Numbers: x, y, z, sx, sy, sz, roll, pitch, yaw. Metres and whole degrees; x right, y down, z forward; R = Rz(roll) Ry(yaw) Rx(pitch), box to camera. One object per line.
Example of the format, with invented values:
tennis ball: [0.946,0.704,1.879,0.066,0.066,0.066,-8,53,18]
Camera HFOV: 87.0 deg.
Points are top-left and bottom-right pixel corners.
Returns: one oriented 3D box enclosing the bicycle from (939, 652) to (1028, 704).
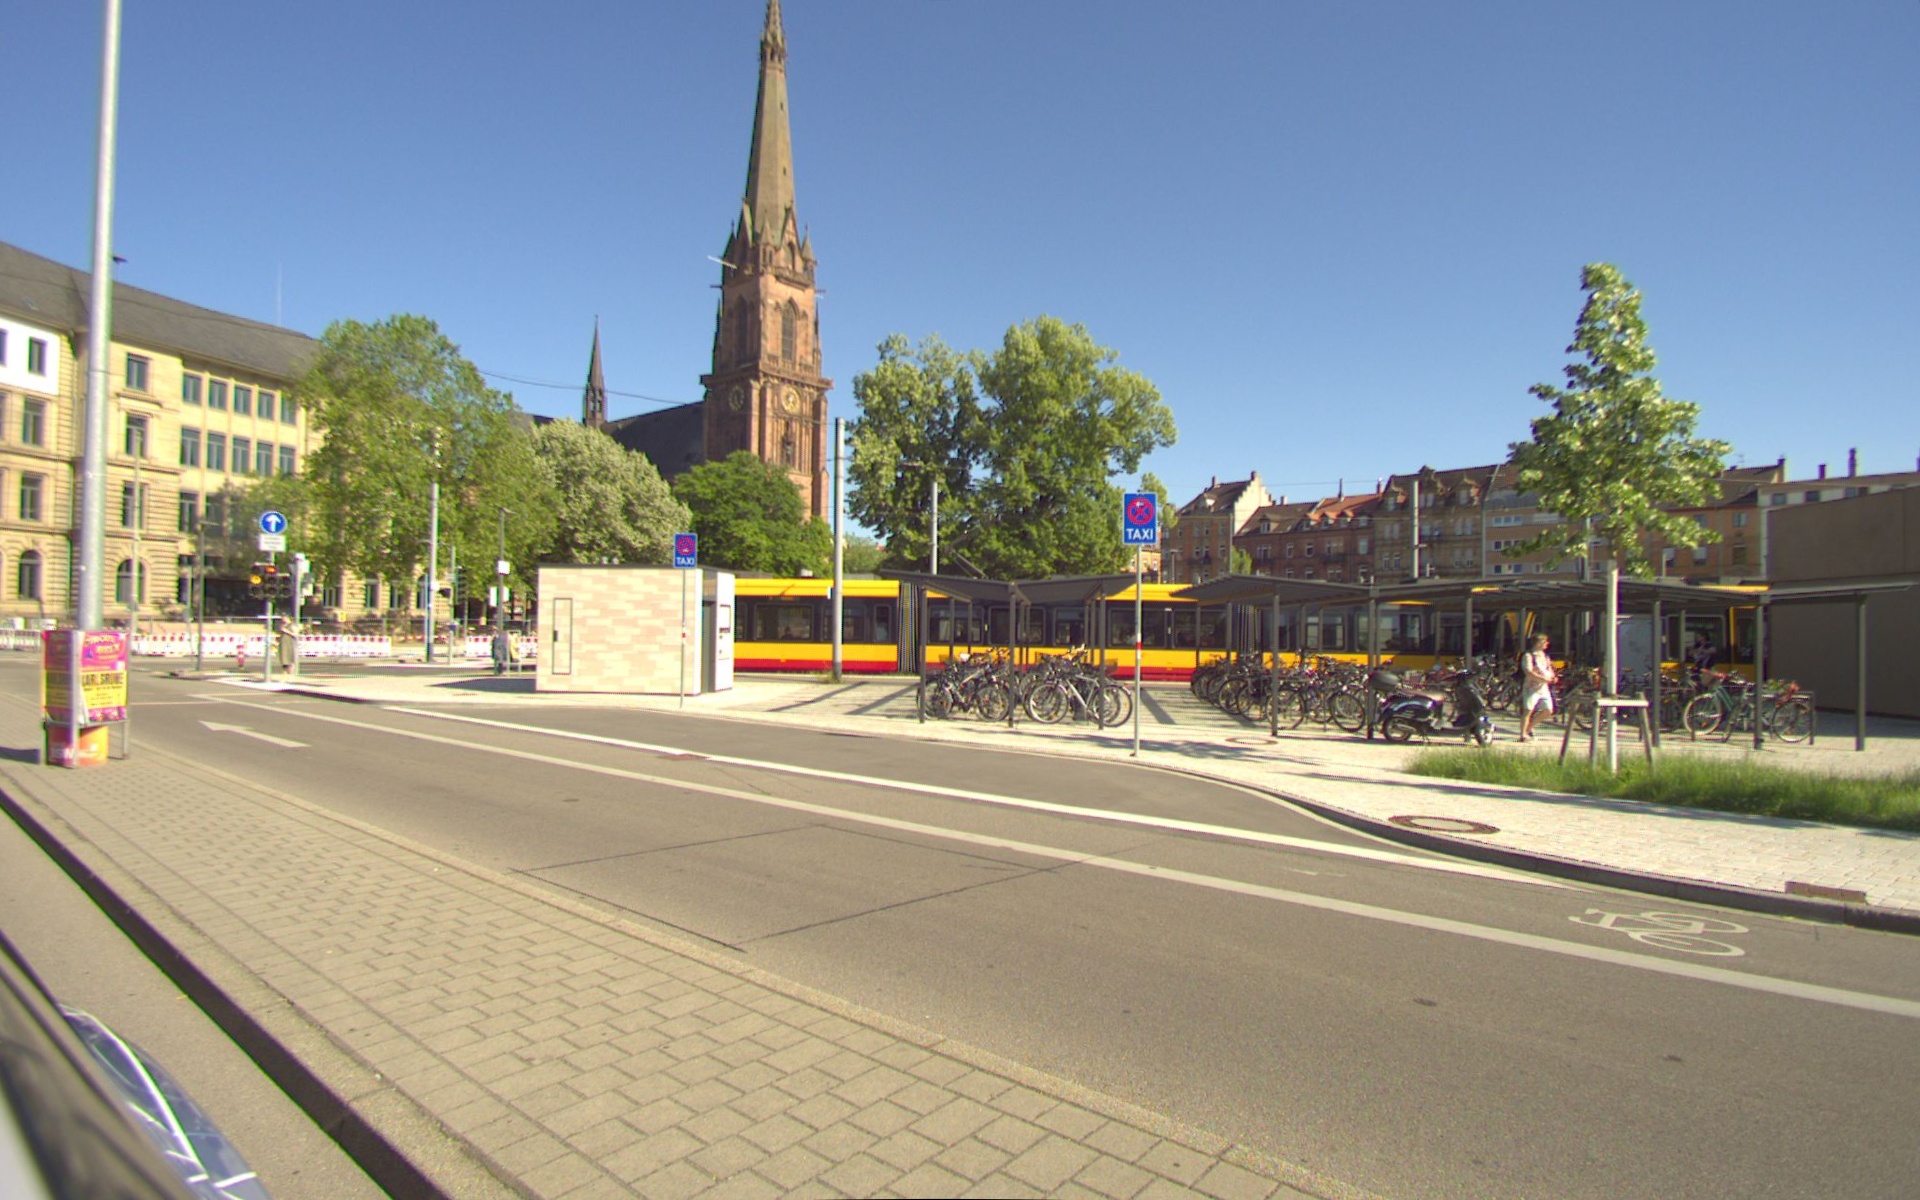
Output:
bicycle: [0.502,1.622,21.153,1.809,1.015,0.627,0,-2,9]

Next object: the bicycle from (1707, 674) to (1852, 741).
bicycle: [13.010,1.698,16.089,1.803,1.015,0.629,1,-2,-3]

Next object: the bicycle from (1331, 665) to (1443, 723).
bicycle: [7.990,1.753,18.983,1.808,1.015,0.627,0,-2,7]

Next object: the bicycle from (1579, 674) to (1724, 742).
bicycle: [11.148,1.726,16.361,1.809,1.015,0.627,0,-2,9]

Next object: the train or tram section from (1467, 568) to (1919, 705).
train or tram section: [21.356,0.980,28.720,12.179,3.628,2.748,0,-2,7]

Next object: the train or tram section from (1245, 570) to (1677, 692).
train or tram section: [15.668,0.955,32.557,12.174,3.628,2.828,0,-2,6]

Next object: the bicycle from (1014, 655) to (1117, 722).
bicycle: [1.899,1.583,18.289,1.808,1.157,0.627,0,-2,7]

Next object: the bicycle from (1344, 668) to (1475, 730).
bicycle: [7.909,1.735,17.889,2.003,1.015,0.627,0,-2,7]

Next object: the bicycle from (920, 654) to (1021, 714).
bicycle: [0.202,1.550,18.778,1.809,1.059,0.571,0,-2,9]

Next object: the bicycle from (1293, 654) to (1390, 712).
bicycle: [8.101,1.751,21.540,1.808,1.170,0.627,0,-2,7]

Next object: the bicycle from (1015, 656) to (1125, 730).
bicycle: [1.854,1.561,17.146,1.808,1.167,0.627,1,-2,7]

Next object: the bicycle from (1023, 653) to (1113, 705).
bicycle: [2.219,1.615,20.861,1.808,1.015,0.627,0,-2,7]

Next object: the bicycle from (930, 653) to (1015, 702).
bicycle: [0.279,1.698,22.184,1.809,1.015,0.627,0,-2,9]

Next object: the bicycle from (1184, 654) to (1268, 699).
bicycle: [6.241,1.792,23.811,1.808,1.015,0.627,0,-2,6]

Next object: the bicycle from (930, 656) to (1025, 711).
bicycle: [0.350,1.642,19.997,1.809,1.015,0.627,0,-2,9]

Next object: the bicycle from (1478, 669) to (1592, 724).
bicycle: [11.251,1.877,19.853,1.809,1.015,0.627,0,-2,9]

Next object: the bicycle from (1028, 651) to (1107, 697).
bicycle: [2.500,1.710,23.622,1.808,1.015,0.627,0,-2,7]

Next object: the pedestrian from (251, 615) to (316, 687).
pedestrian: [-18.190,1.360,27.214,0.826,1.869,1.215,-1,-2,35]

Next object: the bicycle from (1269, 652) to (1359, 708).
bicycle: [7.918,1.773,22.691,1.808,1.198,0.647,0,-2,7]

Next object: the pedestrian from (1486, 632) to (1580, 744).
pedestrian: [9.078,1.365,16.082,0.826,1.718,1.026,1,-2,-7]

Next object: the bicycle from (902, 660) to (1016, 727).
bicycle: [-0.005,1.589,17.383,1.847,1.015,0.699,2,-2,9]

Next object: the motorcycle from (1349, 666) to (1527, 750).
motorcycle: [7.158,1.608,15.246,2.333,1.167,0.610,0,-2,7]

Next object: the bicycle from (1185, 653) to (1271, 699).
bicycle: [6.111,1.727,23.123,1.807,1.015,0.628,0,-2,5]

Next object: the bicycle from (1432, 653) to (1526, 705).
bicycle: [11.991,1.819,23.415,1.809,1.140,0.627,0,-2,9]

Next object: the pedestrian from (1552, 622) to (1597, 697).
pedestrian: [15.500,1.487,25.533,0.700,1.869,0.751,2,-2,-38]

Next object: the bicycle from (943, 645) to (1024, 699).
bicycle: [0.552,1.654,23.428,1.809,1.188,0.627,0,-2,9]

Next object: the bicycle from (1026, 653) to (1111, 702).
bicycle: [2.367,1.694,22.136,1.808,1.015,0.627,0,-2,7]

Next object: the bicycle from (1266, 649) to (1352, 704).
bicycle: [8.226,1.790,23.889,1.808,1.242,0.627,0,-2,7]

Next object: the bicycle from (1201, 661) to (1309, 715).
bicycle: [5.939,1.766,20.444,1.978,1.015,0.628,0,-2,4]

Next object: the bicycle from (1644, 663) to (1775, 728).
bicycle: [13.580,1.720,18.372,1.808,1.101,0.627,0,-2,7]

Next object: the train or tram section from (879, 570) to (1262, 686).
train or tram section: [3.553,0.889,33.850,12.174,3.628,2.796,0,-2,6]

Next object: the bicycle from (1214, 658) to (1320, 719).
bicycle: [5.866,1.687,19.423,1.859,1.101,0.626,0,-2,8]

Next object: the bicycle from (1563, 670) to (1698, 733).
bicycle: [11.593,1.745,17.538,1.872,1.004,0.499,0,-2,13]

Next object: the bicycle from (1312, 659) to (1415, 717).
bicycle: [8.064,1.752,20.275,1.808,1.088,0.627,0,-2,7]

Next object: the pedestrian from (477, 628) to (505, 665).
pedestrian: [-22.692,2.260,48.936,0.923,1.754,0.805,0,-2,5]

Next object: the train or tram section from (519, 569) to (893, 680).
train or tram section: [-8.674,0.822,35.162,12.382,3.628,2.796,0,-2,6]

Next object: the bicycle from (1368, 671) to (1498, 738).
bicycle: [7.757,1.708,16.663,1.808,1.015,0.627,0,-2,7]

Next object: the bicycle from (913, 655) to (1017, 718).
bicycle: [0.106,1.544,18.250,1.809,1.074,0.627,0,-2,9]

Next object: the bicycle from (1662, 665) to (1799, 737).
bicycle: [12.981,1.691,17.077,1.805,1.155,0.629,0,-2,0]

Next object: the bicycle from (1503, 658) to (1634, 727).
bicycle: [11.287,1.707,18.813,2.029,1.218,0.505,0,-2,8]

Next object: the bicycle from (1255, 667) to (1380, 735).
bicycle: [5.967,1.681,16.991,1.871,1.050,0.688,0,-2,9]

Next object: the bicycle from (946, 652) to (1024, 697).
bicycle: [0.610,1.758,24.127,1.809,1.015,0.627,0,-2,9]

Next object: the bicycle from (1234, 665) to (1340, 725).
bicycle: [5.843,1.690,18.145,1.731,1.015,0.547,0,-2,10]

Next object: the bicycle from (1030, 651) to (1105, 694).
bicycle: [2.622,1.766,24.822,1.808,1.015,0.627,0,-2,7]

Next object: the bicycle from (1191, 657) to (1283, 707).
bicycle: [5.959,1.762,21.818,1.805,1.015,0.629,0,-2,0]

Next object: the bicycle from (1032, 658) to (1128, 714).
bicycle: [2.310,1.641,19.554,1.808,1.015,0.745,0,-2,7]

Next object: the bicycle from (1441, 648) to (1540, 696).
bicycle: [11.677,1.582,22.319,1.809,1.015,0.627,0,-2,9]

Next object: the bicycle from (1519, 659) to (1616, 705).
bicycle: [14.043,1.885,23.418,1.808,1.015,0.627,0,-2,7]
